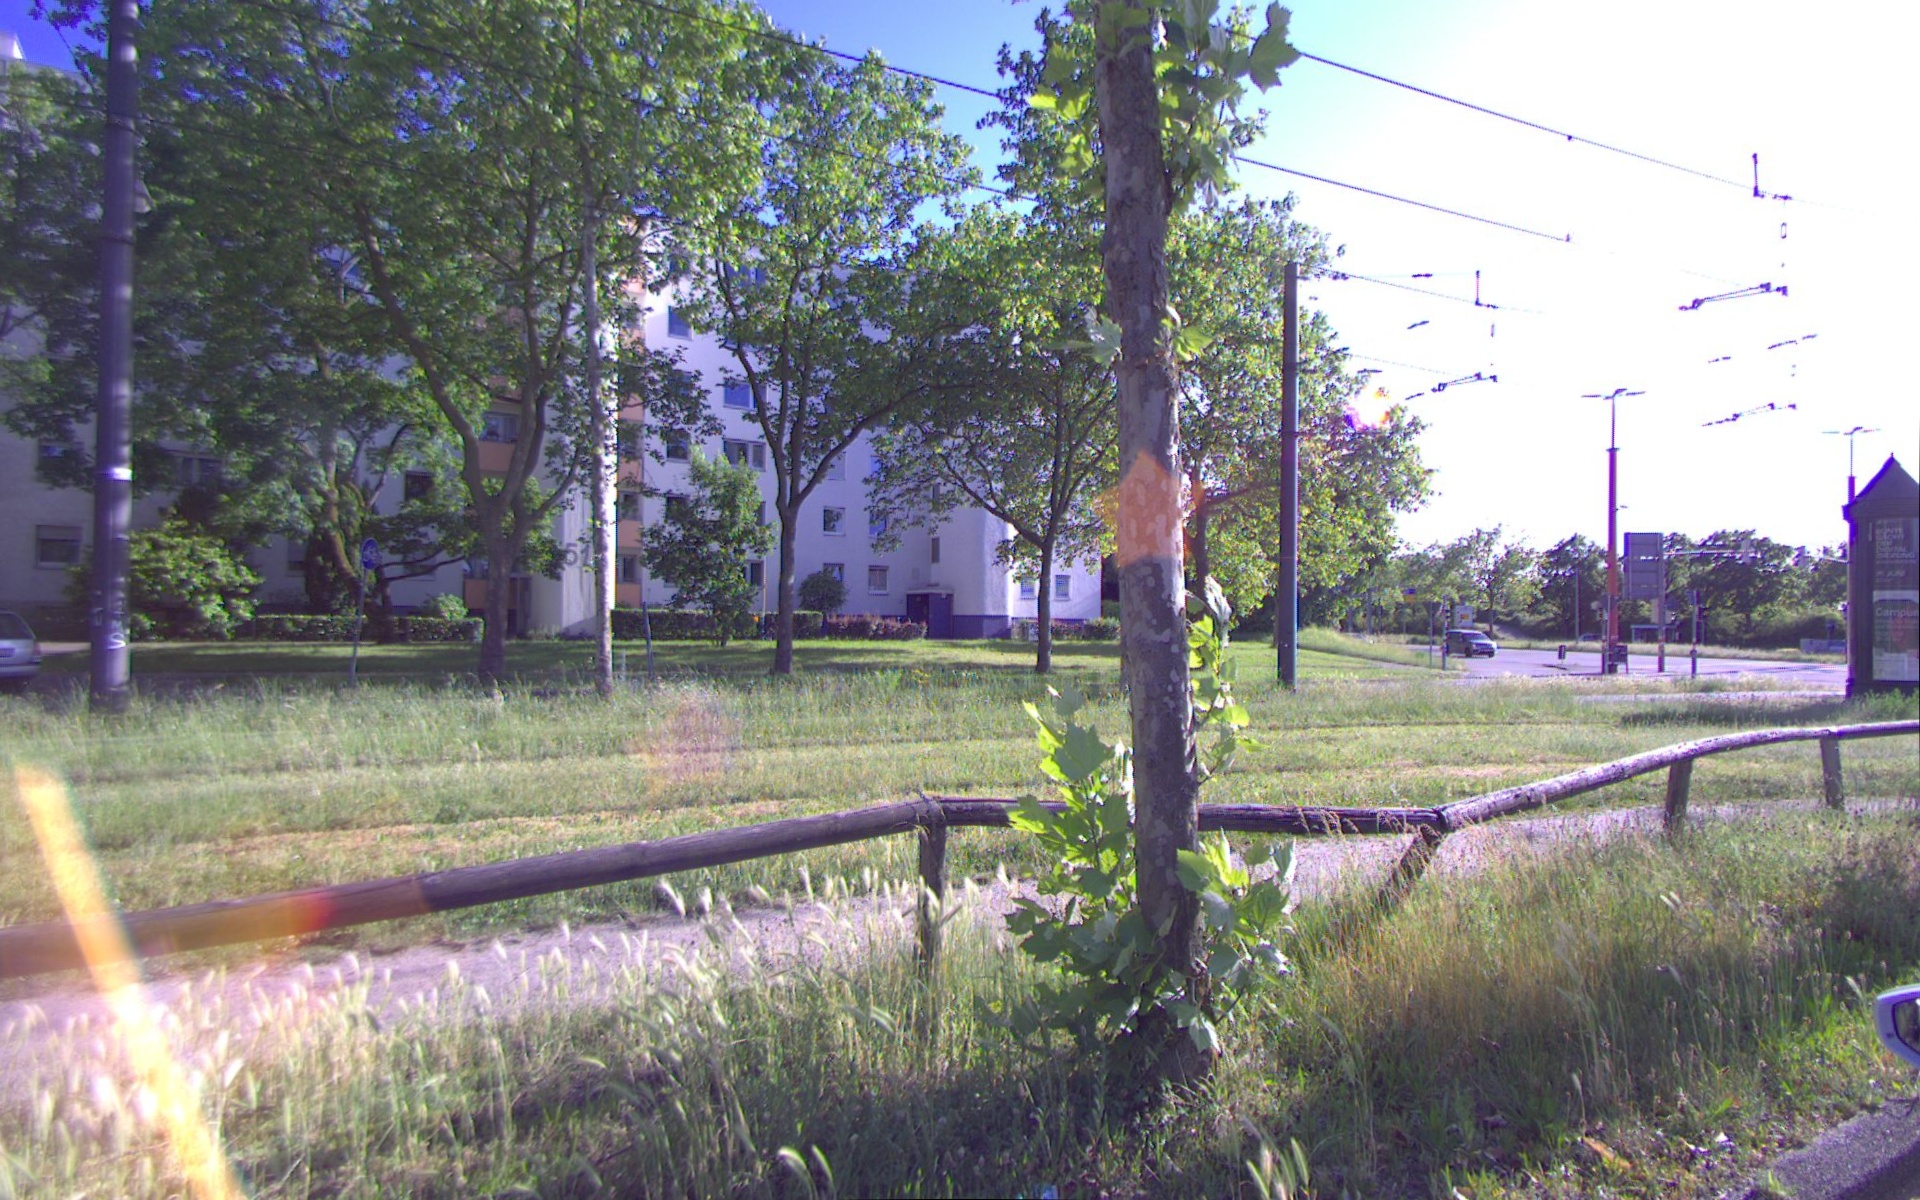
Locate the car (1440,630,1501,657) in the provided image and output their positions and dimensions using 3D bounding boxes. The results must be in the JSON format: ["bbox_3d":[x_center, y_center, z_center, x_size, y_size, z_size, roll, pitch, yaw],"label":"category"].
[{"bbox_3d":[35.478,2.998,69.942,1.867,1.798,4.446,-1,-1,-2],"label":"car"}]

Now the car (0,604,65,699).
[{"bbox_3d":[-17.373,0.817,16.854,3.969,1.506,1.815,1,0,19],"label":"car"}]

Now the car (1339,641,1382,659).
[{"bbox_3d":[35.445,4.417,89.036,1.867,1.494,4.565,-1,-1,-2],"label":"car"}]
